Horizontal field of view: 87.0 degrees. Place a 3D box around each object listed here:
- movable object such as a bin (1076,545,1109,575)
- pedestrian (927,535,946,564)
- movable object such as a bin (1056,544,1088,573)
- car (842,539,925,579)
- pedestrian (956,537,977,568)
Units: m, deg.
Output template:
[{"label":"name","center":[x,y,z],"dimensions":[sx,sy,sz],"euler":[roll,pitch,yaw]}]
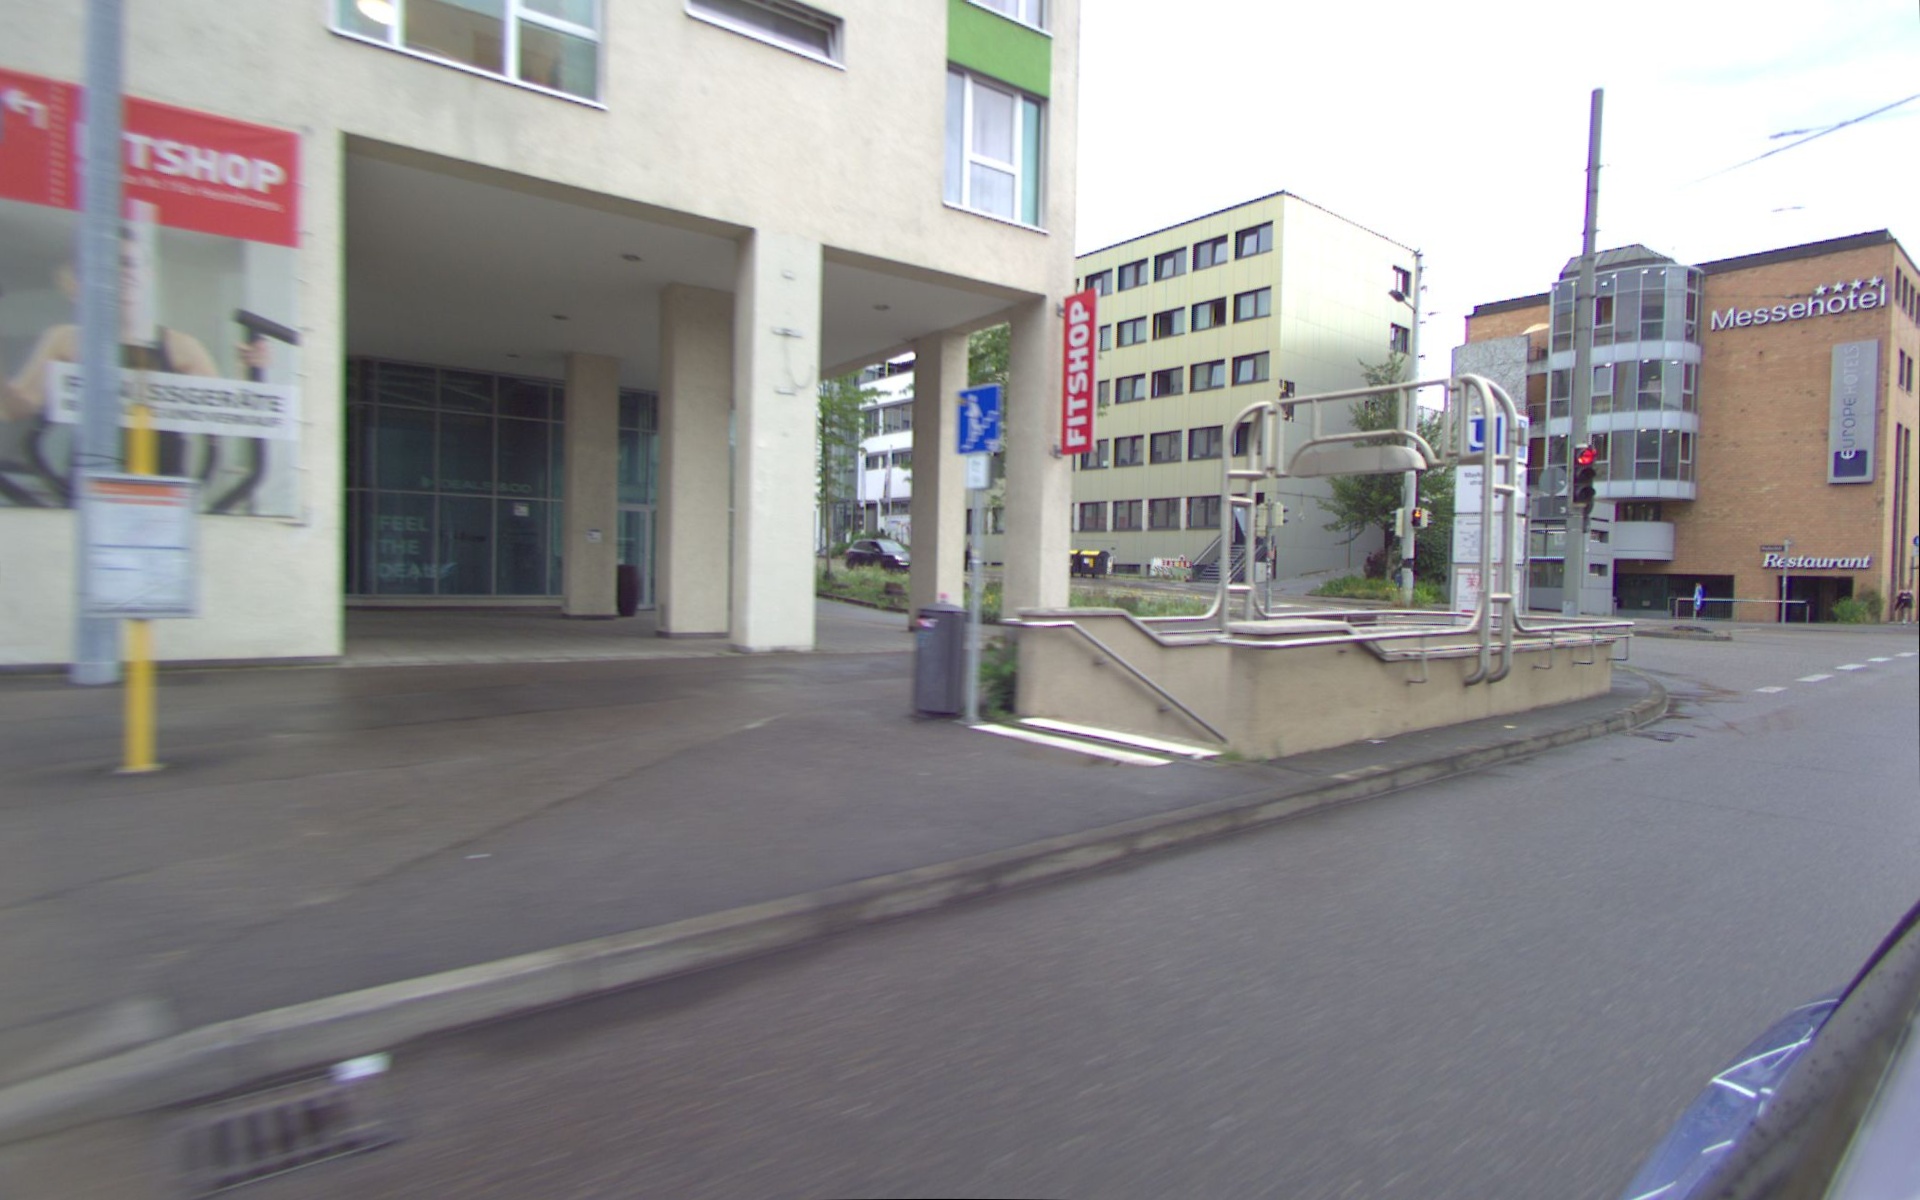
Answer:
[{"label":"movable object such as a bin","center":[6.919,-2.118,52.957],"dimensions":[1.038,1.462,1.358],"euler":[-3,6,-36]},{"label":"pedestrian","center":[-1.452,-3.143,62.589],"dimensions":[0.744,1.752,0.942],"euler":[-2,6,-37]},{"label":"movable object such as a bin","center":[5.997,-2.223,54.238],"dimensions":[1.038,1.462,1.431],"euler":[-3,6,-36]},{"label":"car","center":[-3.499,-1.906,45.864],"dimensions":[1.963,1.592,4.002],"euler":[-2,6,-36]},{"label":"pedestrian","center":[0.385,-2.742,58.311],"dimensions":[0.755,1.696,0.969],"euler":[-2,6,-37]}]
